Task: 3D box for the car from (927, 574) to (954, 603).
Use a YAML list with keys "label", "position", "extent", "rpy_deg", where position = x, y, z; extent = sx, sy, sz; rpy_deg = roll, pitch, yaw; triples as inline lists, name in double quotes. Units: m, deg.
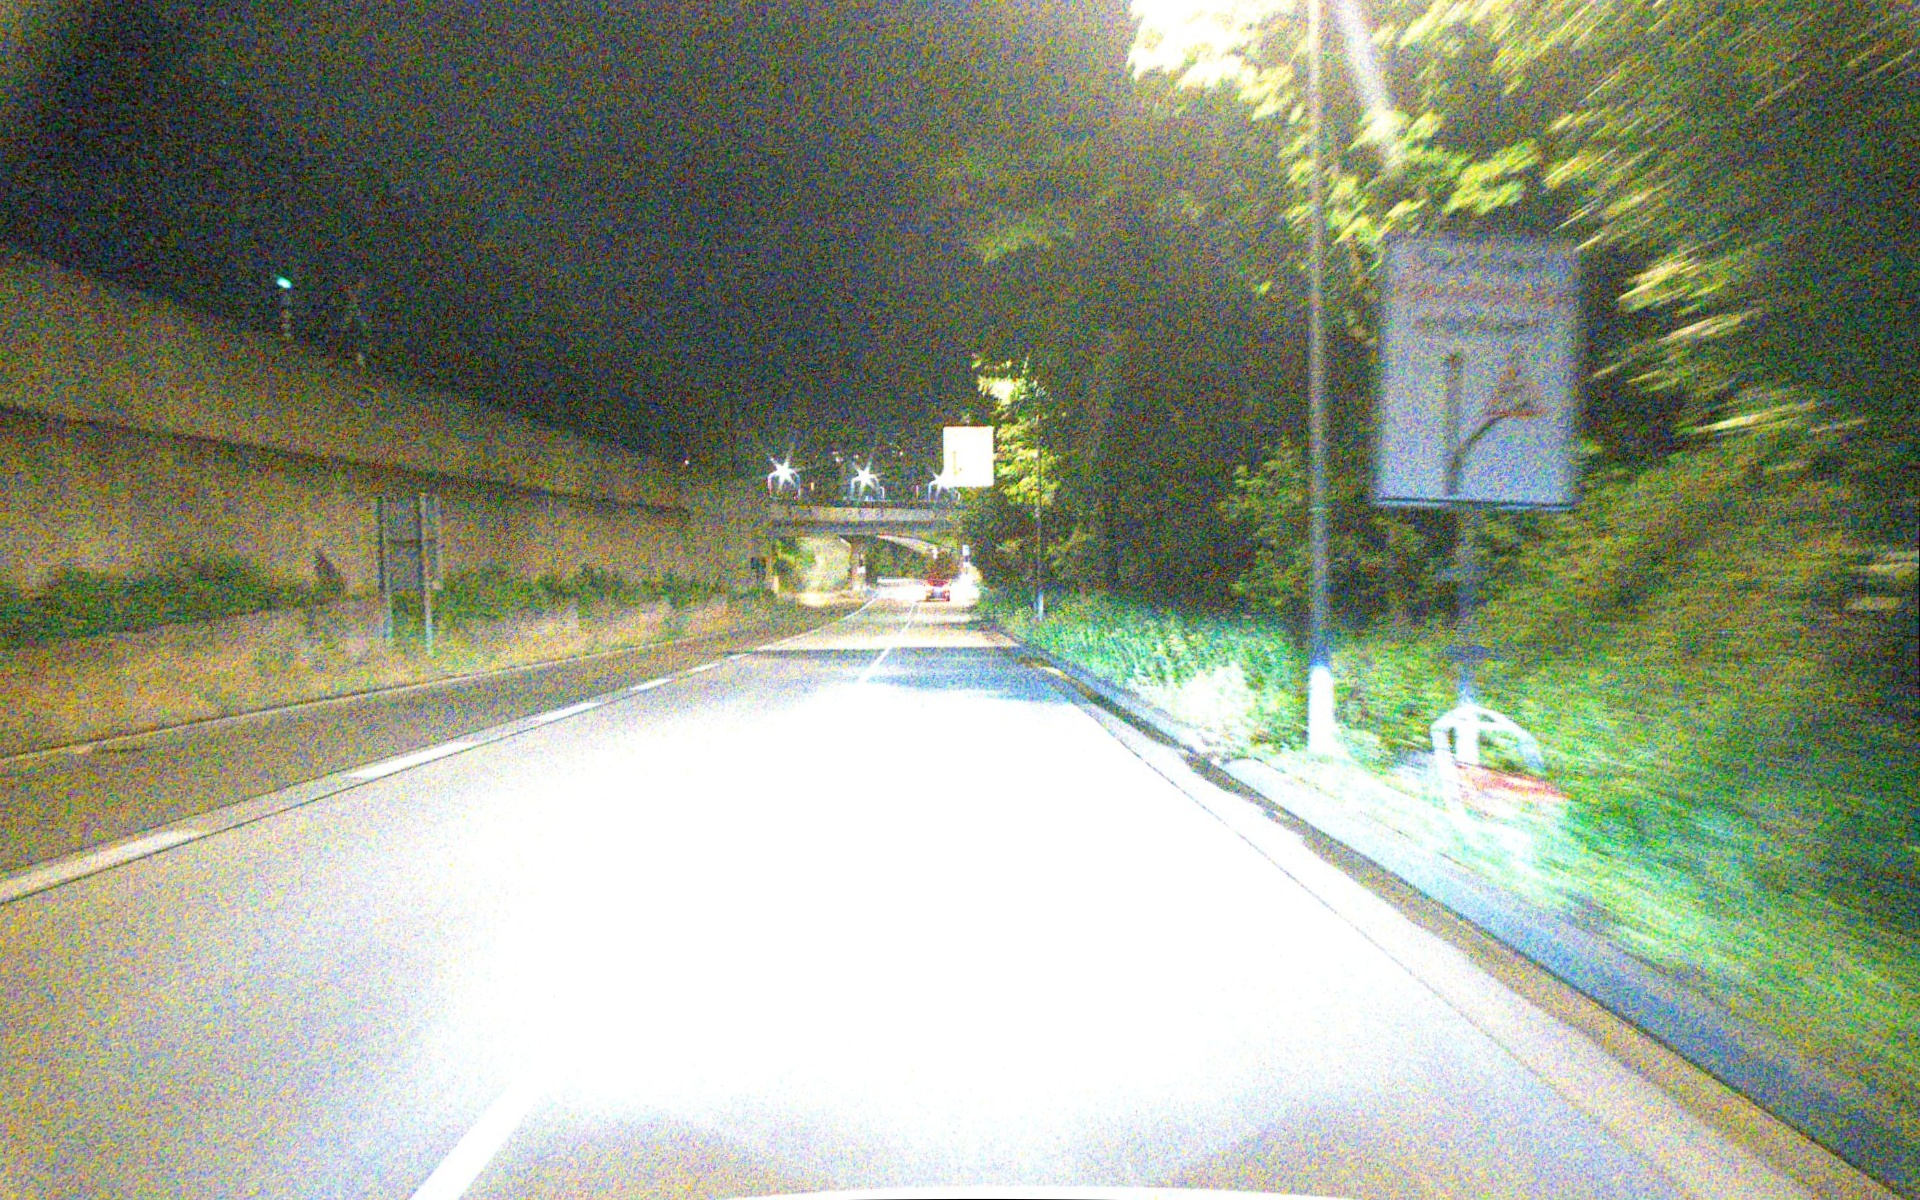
- label: "car"
  position: [-1.445, -0.835, 121.083]
  extent: [1.880, 2.049, 4.121]
  rpy_deg: [1, 0, -1]
